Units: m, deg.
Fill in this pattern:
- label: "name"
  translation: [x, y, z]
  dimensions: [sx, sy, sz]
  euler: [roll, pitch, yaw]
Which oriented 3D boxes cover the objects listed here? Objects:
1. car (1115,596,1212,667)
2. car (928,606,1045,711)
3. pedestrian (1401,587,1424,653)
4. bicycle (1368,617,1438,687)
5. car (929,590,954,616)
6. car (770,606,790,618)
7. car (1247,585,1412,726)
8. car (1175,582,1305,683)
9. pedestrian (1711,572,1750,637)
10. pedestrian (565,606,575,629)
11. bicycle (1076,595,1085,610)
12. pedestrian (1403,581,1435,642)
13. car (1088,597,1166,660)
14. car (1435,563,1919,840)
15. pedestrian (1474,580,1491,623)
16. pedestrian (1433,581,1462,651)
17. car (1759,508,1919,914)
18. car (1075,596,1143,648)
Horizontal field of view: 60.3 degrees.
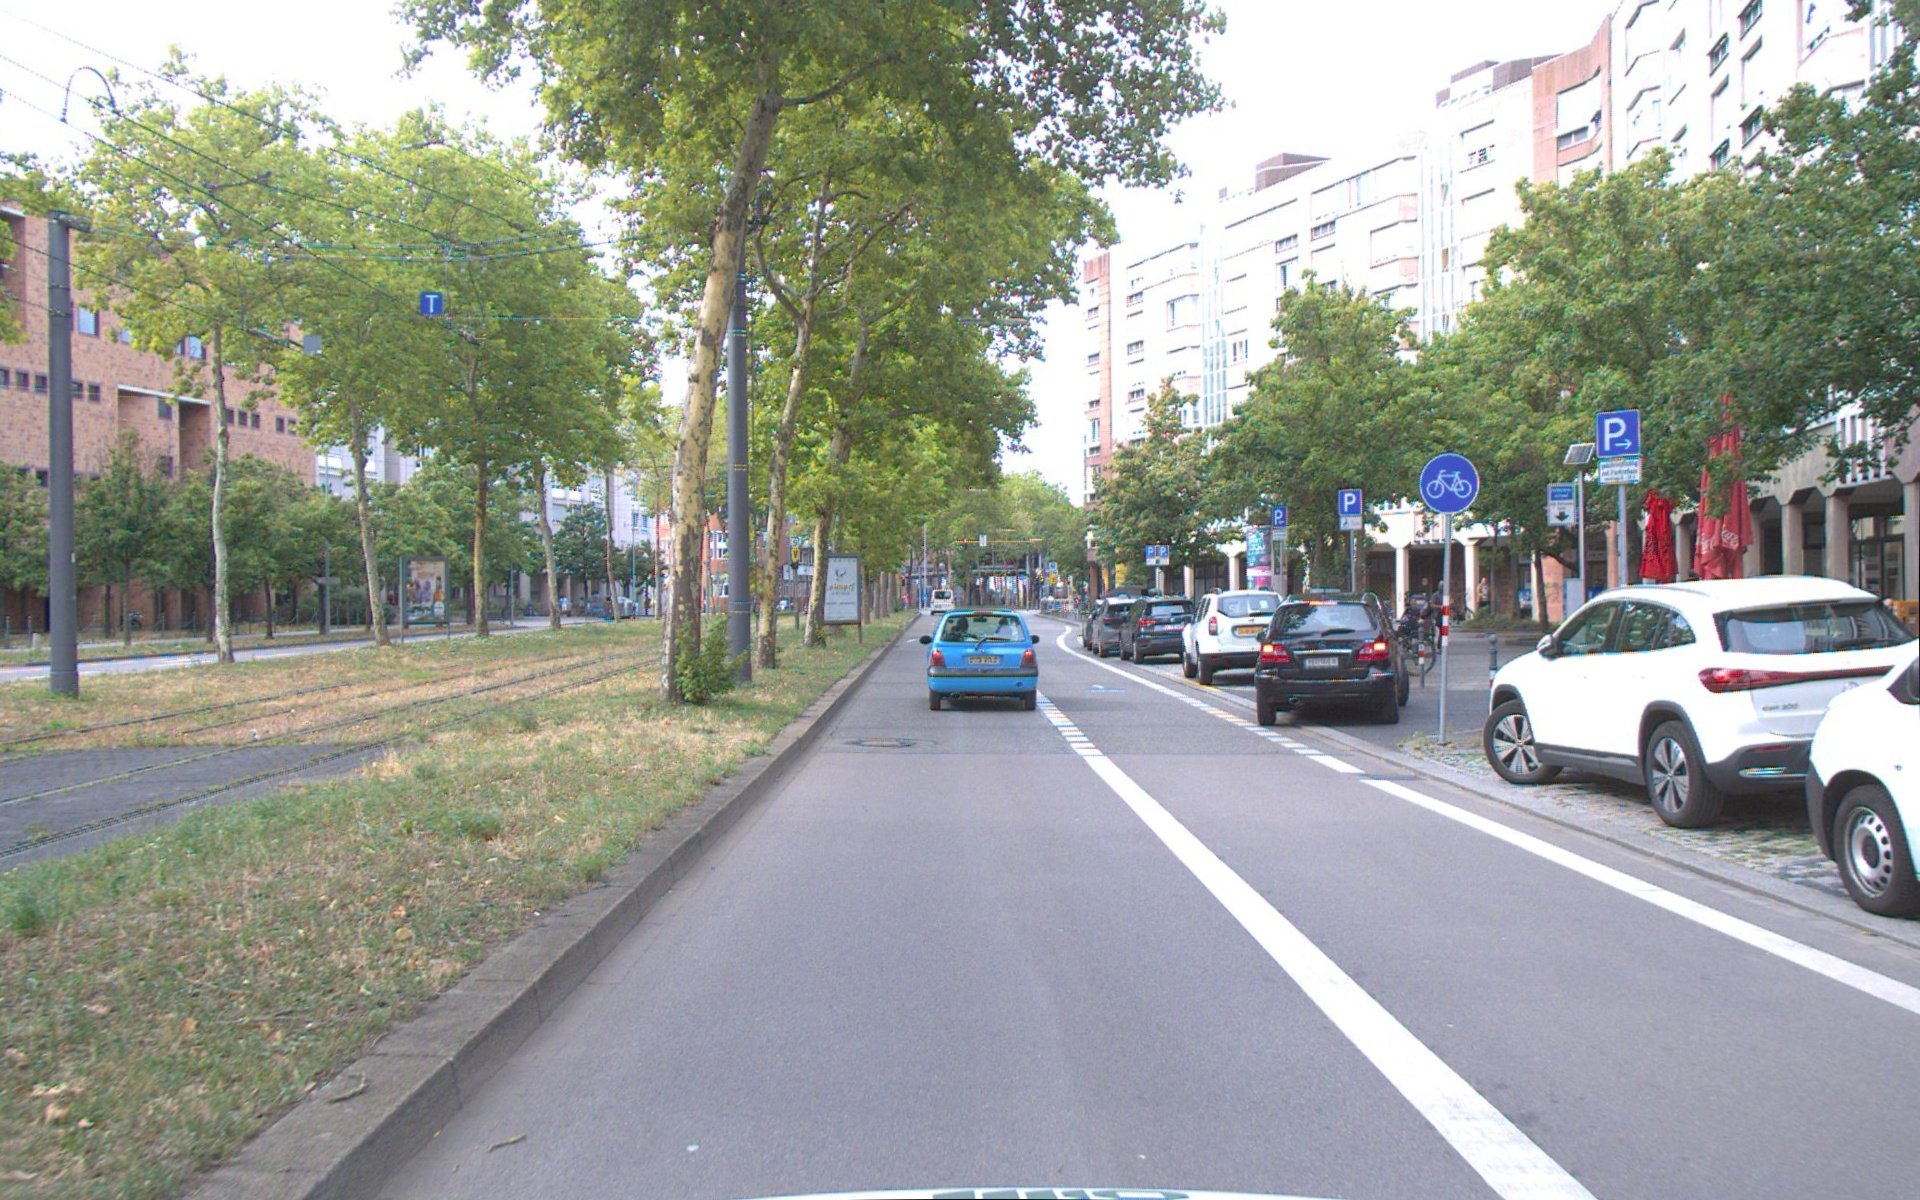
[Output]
- label: "car"
  translation: [4.838, 0.717, 39.835]
  dimensions: [1.680, 1.545, 4.203]
  euler: [-3, 0, -1]
- label: "car"
  translation: [0.373, 0.805, 24.573]
  dimensions: [1.607, 1.410, 3.843]
  euler: [0, 0, 0]
- label: "pedestrian"
  translation: [10.328, 0.449, 37.781]
  dimensions: [0.402, 1.505, 0.504]
  euler: [-1, 0, 6]
- label: "bicycle"
  translation: [7.070, 0.811, 26.484]
  dimensions: [0.593, 1.047, 1.865]
  euler: [-1, 0, 0]
- label: "car"
  translation: [-1.438, 0.236, 129.460]
  dimensions: [1.892, 1.959, 4.955]
  euler: [-1, 0, 0]
- label: "car"
  translation: [-19.565, 1.291, 179.734]
  dimensions: [1.694, 1.267, 4.533]
  euler: [-1, 0, -1]
- label: "car"
  translation: [5.004, 0.661, 21.993]
  dimensions: [1.737, 1.604, 4.307]
  euler: [-3, 0, 17]
- label: "car"
  translation: [5.117, 0.554, 30.707]
  dimensions: [1.822, 1.682, 4.165]
  euler: [-2, 0, 3]
- label: "pedestrian"
  translation: [18.977, 0.108, 40.747]
  dimensions: [0.695, 1.582, 0.799]
  euler: [-1, 0, 12]
- label: "pedestrian"
  translation: [-29.803, 1.313, 126.382]
  dimensions: [0.541, 1.735, 0.885]
  euler: [-1, 0, 4]
- label: "bicycle"
  translation: [9.060, 0.164, 124.025]
  dimensions: [0.599, 1.137, 1.806]
  euler: [-1, 0, 7]
- label: "pedestrian"
  translation: [12.191, 0.298, 43.952]
  dimensions: [0.729, 1.597, 0.765]
  euler: [-1, 0, 9]
- label: "car"
  translation: [4.489, 0.742, 44.972]
  dimensions: [1.704, 1.545, 4.401]
  euler: [-2, 0, 1]
- label: "car"
  translation: [5.513, 0.621, 12.739]
  dimensions: [1.956, 1.630, 4.578]
  euler: [-4, 0, -5]
- label: "pedestrian"
  translation: [20.813, 0.077, 65.882]
  dimensions: [0.521, 1.691, 0.851]
  euler: [-1, 0, 12]
- label: "pedestrian"
  translation: [11.329, 0.373, 38.422]
  dimensions: [0.506, 1.597, 0.478]
  euler: [-1, 0, 35]
- label: "car"
  translation: [5.394, 0.479, 6.727]
  dimensions: [1.790, 1.897, 4.645]
  euler: [-3, 0, -3]
- label: "car"
  translation: [4.540, 0.652, 50.986]
  dimensions: [1.779, 1.468, 4.667]
  euler: [-2, 0, 2]
